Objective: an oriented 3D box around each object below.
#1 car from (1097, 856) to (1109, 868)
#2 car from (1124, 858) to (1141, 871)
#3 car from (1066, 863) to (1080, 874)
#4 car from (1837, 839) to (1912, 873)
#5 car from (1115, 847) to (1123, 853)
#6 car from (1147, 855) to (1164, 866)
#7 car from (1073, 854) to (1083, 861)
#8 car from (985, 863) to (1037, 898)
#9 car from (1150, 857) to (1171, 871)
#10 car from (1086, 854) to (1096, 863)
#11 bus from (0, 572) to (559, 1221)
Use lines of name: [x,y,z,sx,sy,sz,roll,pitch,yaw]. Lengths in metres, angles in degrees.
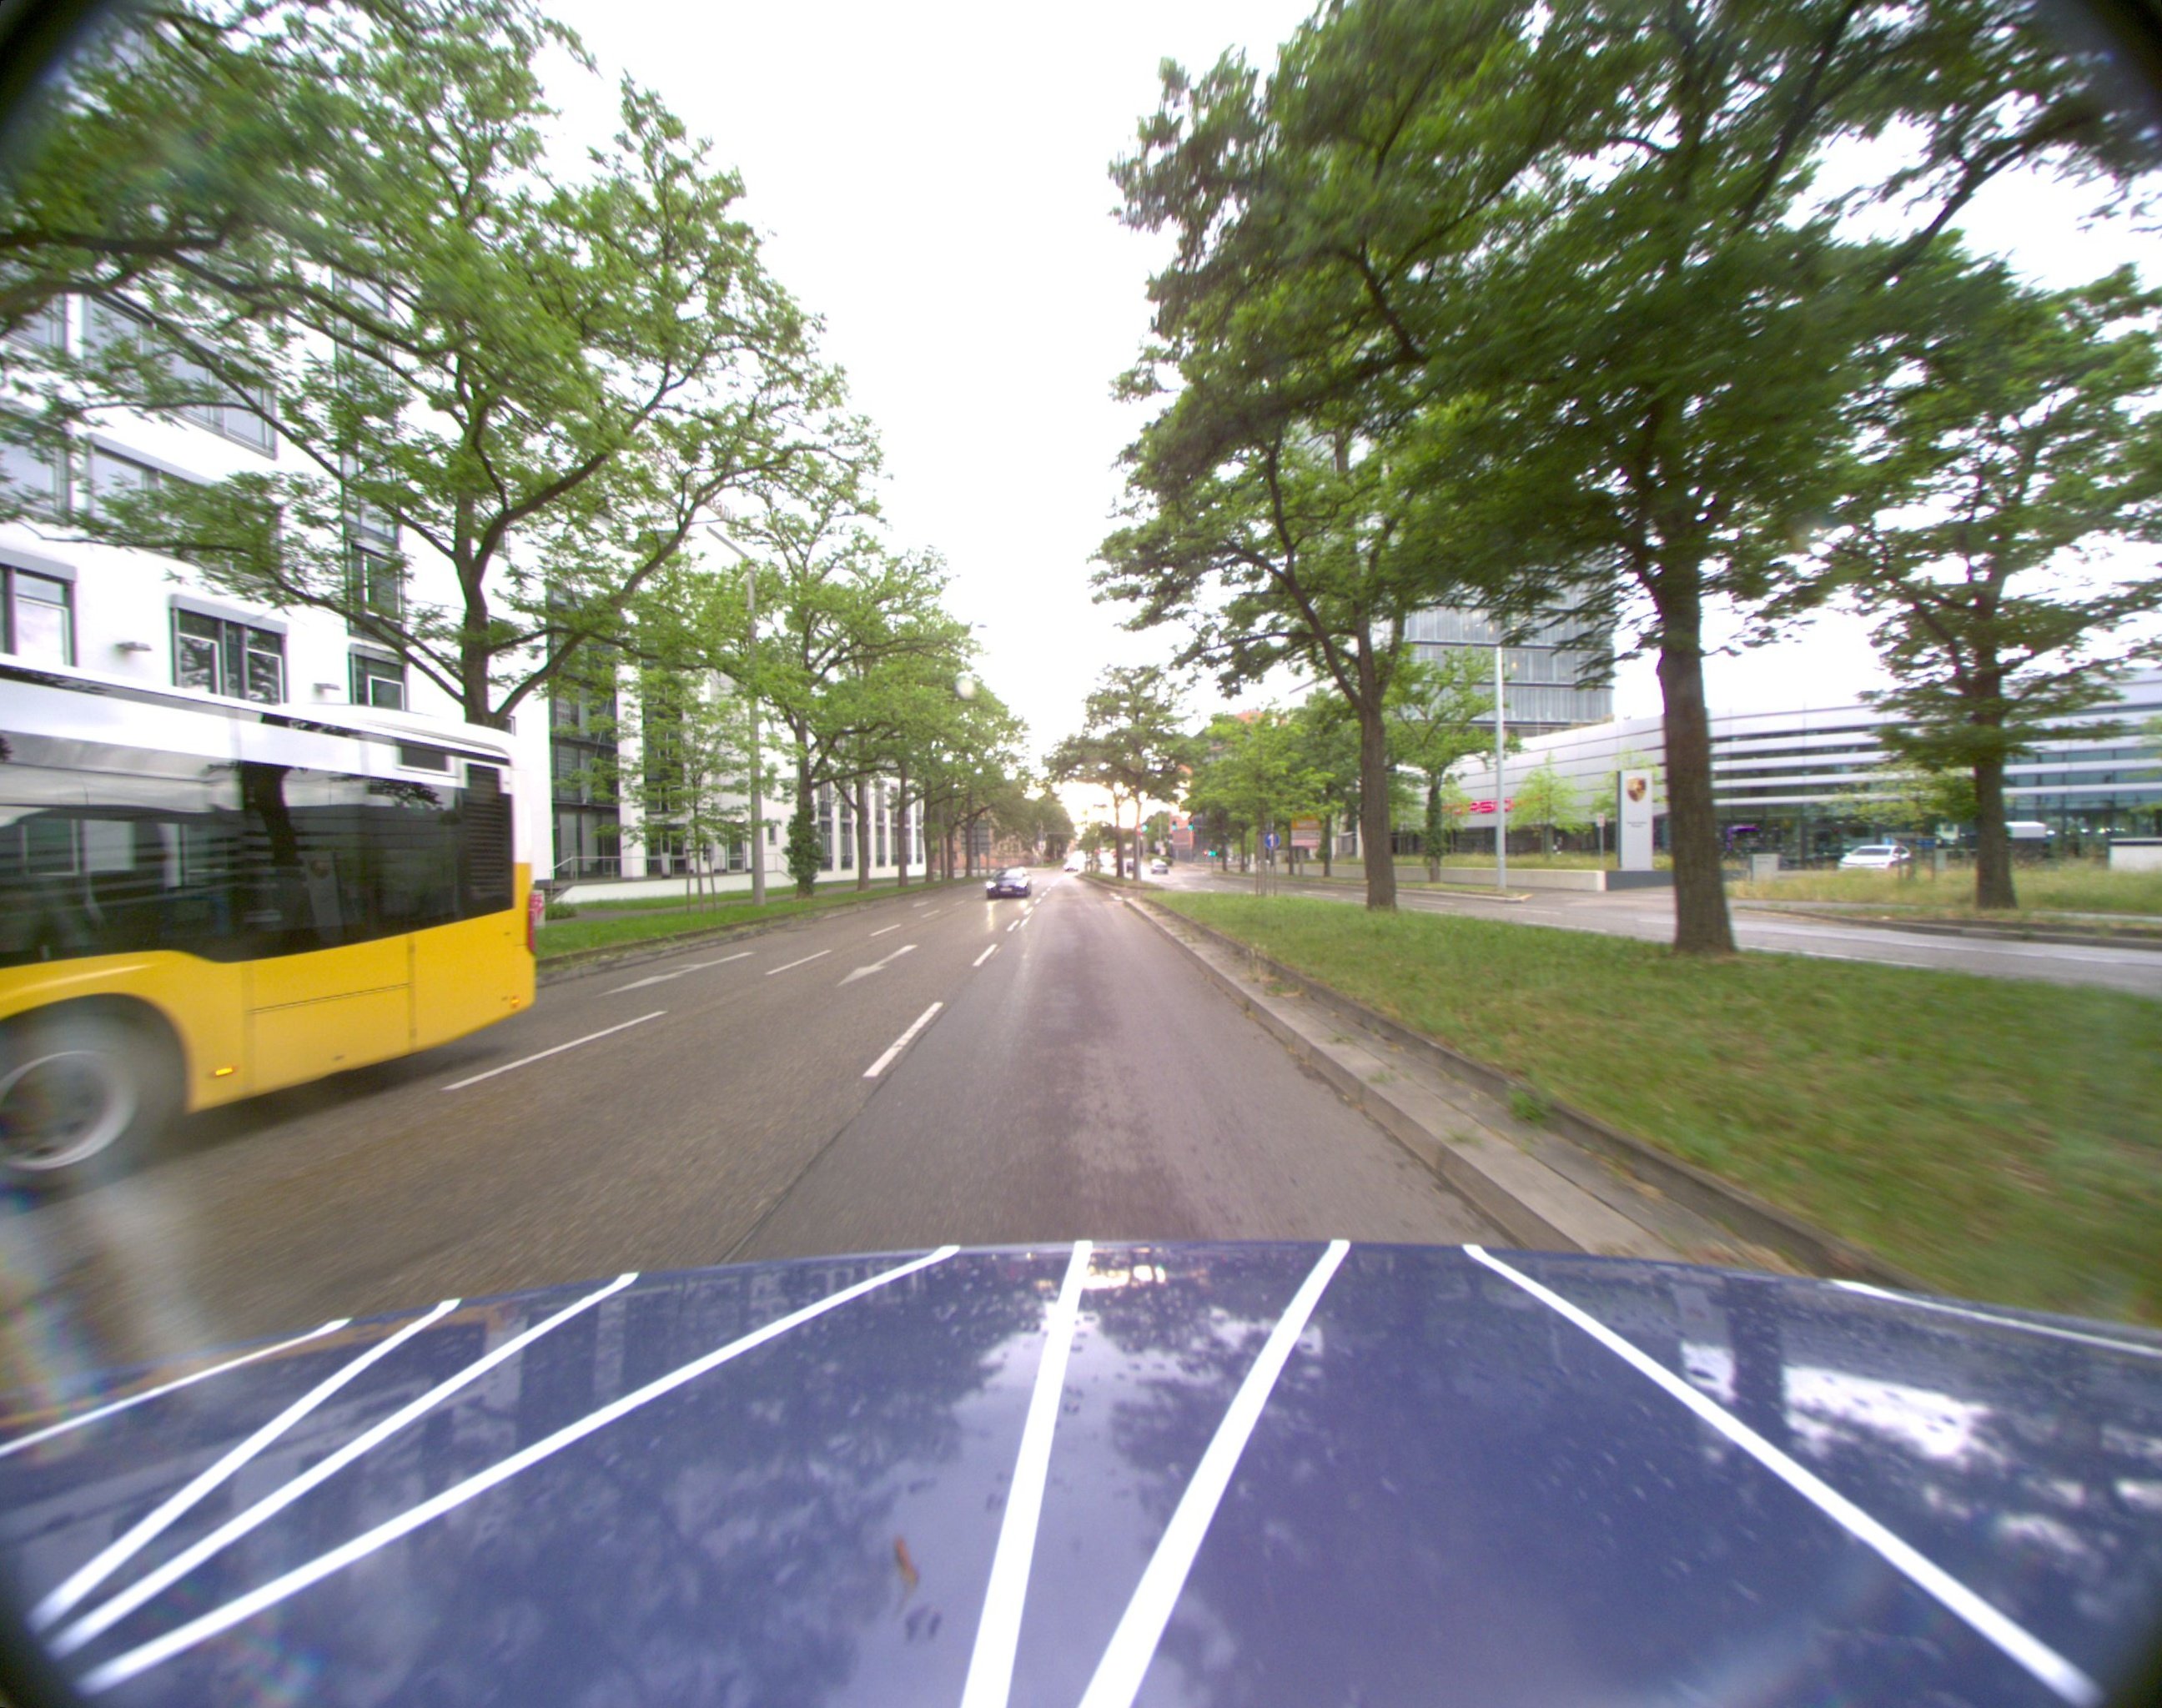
car: [3.800,1.329,129.675,1.998,2.002,4.000,-1,0,1]
car: [6.796,1.317,99.976,1.846,1.581,4.172,0,1,-2]
car: [-1.059,1.996,105.833,1.625,1.426,3.551,-3,1,3]
car: [39.241,0.092,37.558,4.006,1.405,1.774,-4,1,-33]
car: [10.595,-1.097,210.405,1.783,1.445,3.999,-3,1,-2]
car: [10.487,0.909,107.701,1.783,1.445,3.999,-3,1,-2]
car: [-0.610,0.719,169.625,1.998,1.575,4.000,-1,0,1]
car: [-3.178,1.173,35.315,1.878,1.346,4.331,-3,1,1]
car: [9.472,1.209,91.063,1.894,1.445,3.999,-3,1,-2]
car: [2.043,0.831,151.782,1.998,1.707,4.000,-1,0,1]
bus: [-6.622,0.242,1.343,2.734,3.133,12.146,-3,0,1]
